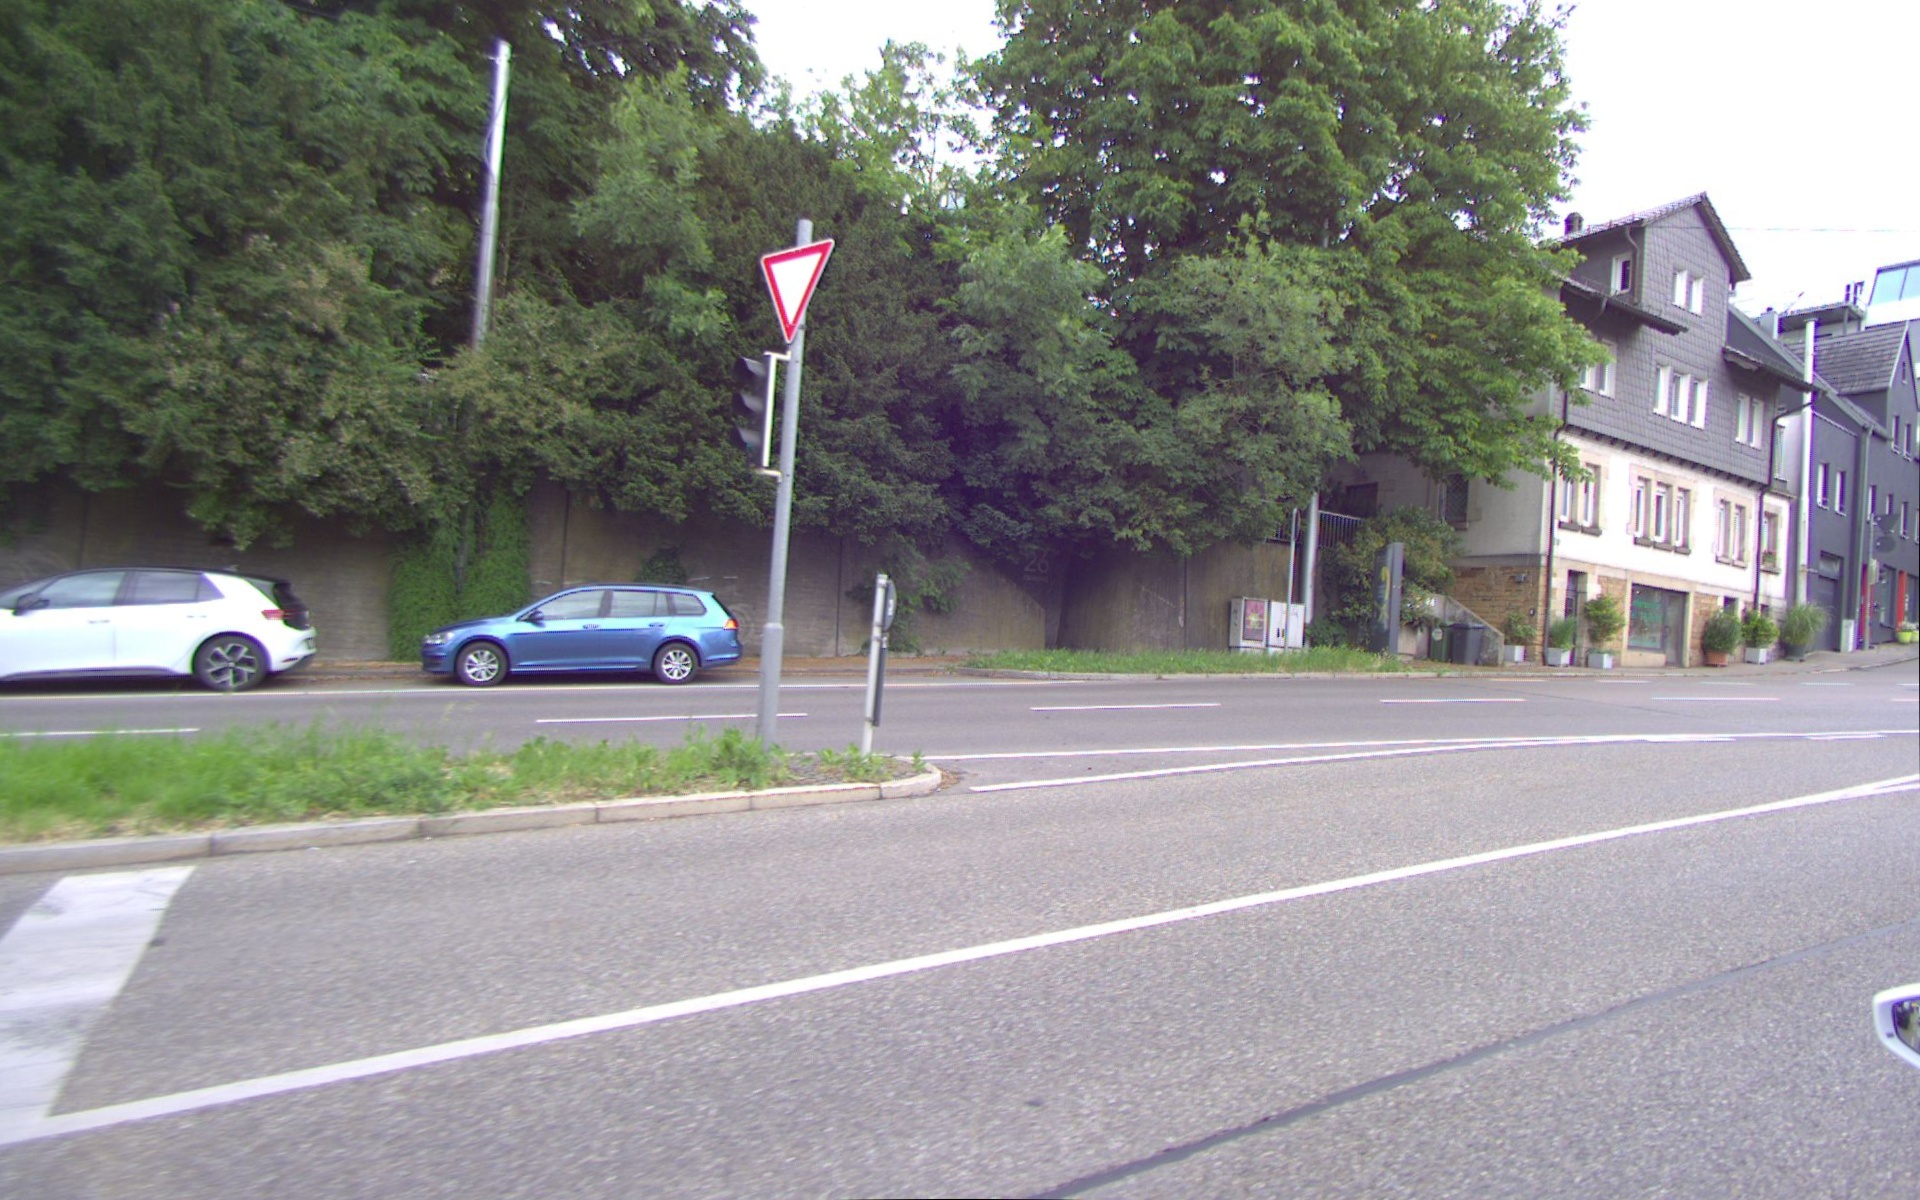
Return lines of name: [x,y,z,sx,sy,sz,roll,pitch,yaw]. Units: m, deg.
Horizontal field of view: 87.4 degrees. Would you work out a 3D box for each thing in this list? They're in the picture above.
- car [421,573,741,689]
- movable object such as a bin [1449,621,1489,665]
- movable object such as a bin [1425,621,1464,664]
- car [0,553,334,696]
car: [-5.577,0.426,15.056,4.239,1.549,1.708,1,1,-23]
movable object such as a bin: [12.673,1.072,25.008,0.637,1.032,0.538,3,0,-17]
movable object such as a bin: [12.383,1.081,25.676,0.637,1.032,0.577,3,0,-17]
car: [-10.534,0.276,12.832,4.116,1.651,1.773,1,1,-27]
